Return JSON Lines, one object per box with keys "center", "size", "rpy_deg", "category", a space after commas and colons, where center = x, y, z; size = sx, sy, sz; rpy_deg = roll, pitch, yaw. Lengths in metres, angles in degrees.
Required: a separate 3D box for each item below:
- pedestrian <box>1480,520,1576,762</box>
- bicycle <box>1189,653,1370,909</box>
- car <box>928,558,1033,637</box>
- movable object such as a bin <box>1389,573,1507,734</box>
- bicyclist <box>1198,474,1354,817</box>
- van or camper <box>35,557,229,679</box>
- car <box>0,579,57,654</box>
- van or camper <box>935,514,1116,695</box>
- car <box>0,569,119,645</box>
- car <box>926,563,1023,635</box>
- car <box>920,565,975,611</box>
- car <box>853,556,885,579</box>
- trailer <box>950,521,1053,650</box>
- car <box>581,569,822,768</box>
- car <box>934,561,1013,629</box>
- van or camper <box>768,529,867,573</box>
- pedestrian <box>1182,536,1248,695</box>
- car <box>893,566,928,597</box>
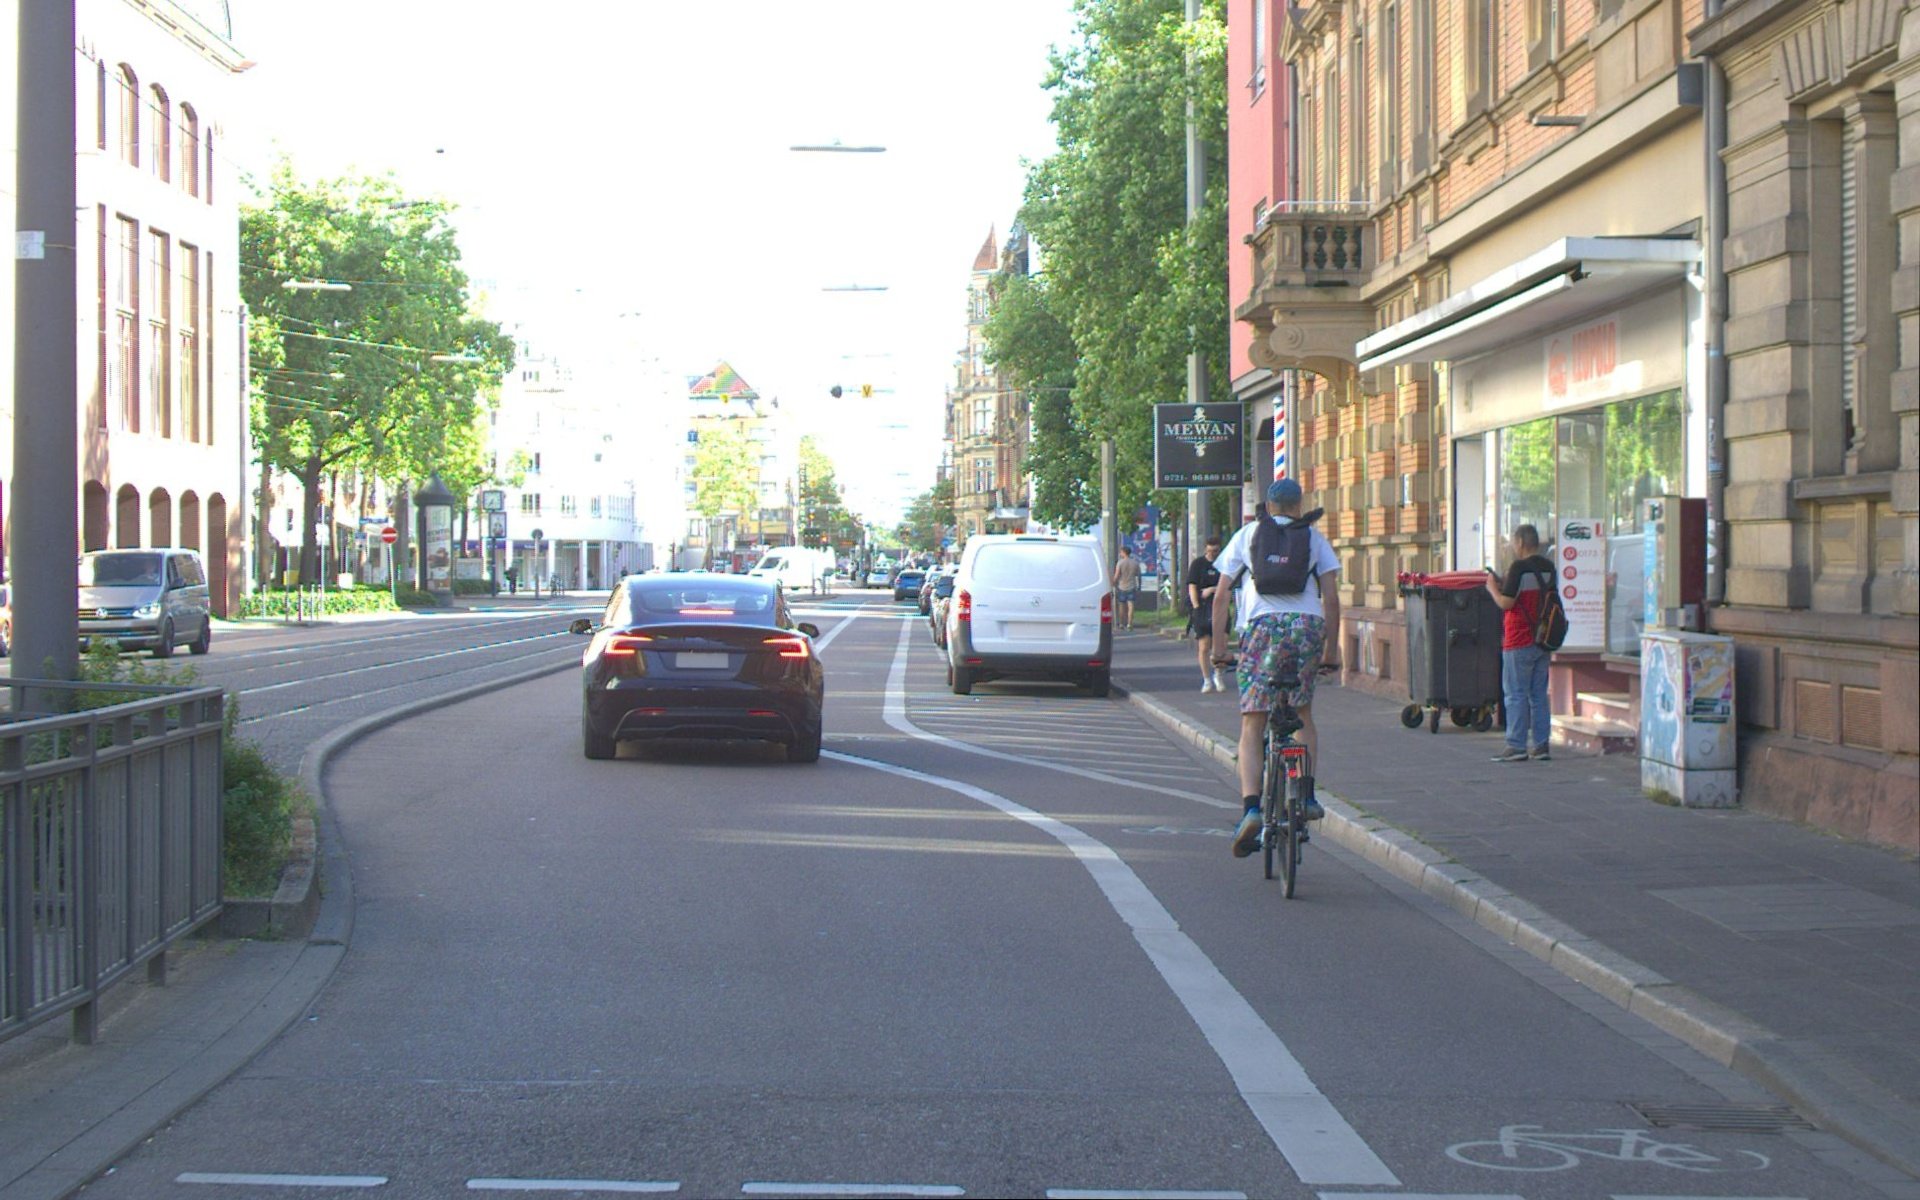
{"center": [4.122, 0.288, 24.927], "size": [0.470, 1.722, 0.586], "rpy_deg": [0, 2, 35], "category": "pedestrian"}
{"center": [1.561, 0.860, 17.068], "size": [0.647, 1.135, 2.096], "rpy_deg": [1, 0, -1], "category": "bicycle"}
{"center": [0.370, -0.056, 67.663], "size": [1.802, 1.430, 4.324], "rpy_deg": [2, 0, -2], "category": "car"}
{"center": [4.169, 0.446, 29.467], "size": [0.775, 1.343, 1.299], "rpy_deg": [0, 0, -2], "category": "movable object such as a bin"}
{"center": [1.563, 0.216, 17.111], "size": [0.655, 1.650, 0.927], "rpy_deg": [1, 0, -1], "category": "bicyclist"}
{"center": [-14.263, 0.272, 59.516], "size": [1.993, 1.933, 4.834], "rpy_deg": [-2, 1, 2], "category": "van or camper"}
{"center": [-18.790, 0.280, 65.651], "size": [1.960, 1.321, 4.821], "rpy_deg": [2, 1, -2], "category": "car"}
{"center": [0.731, 0.050, 42.264], "size": [1.931, 2.030, 5.476], "rpy_deg": [1, 0, -2], "category": "van or camper"}
{"center": [-18.826, 0.123, 71.485], "size": [1.669, 1.463, 4.290], "rpy_deg": [2, 1, -1], "category": "car"}
{"center": [0.335, -0.037, 72.292], "size": [1.750, 1.438, 4.314], "rpy_deg": [1, 1, 4], "category": "car"}
{"center": [-0.440, -0.399, 113.308], "size": [1.710, 1.452, 4.550], "rpy_deg": [1, 0, -1], "category": "car"}
{"center": [-6.210, -2.218, 234.438], "size": [1.993, 1.520, 4.001], "rpy_deg": [0, 1, -5], "category": "car"}
{"center": [0.712, -0.254, 59.674], "size": [1.661, 2.109, 3.842], "rpy_deg": [2, 0, 1], "category": "trailer"}
{"center": [-1.983, 0.489, 27.214], "size": [1.719, 1.400, 3.710], "rpy_deg": [1, 1, -2], "category": "car"}
{"center": [0.309, -0.145, 84.287], "size": [1.713, 1.585, 4.066], "rpy_deg": [1, 1, -2], "category": "car"}
{"center": [-8.883, -3.061, 214.840], "size": [2.144, 2.645, 6.865], "rpy_deg": [0, 0, 38], "category": "van or camper"}
{"center": [2.927, 0.179, 39.462], "size": [0.672, 1.808, 0.756], "rpy_deg": [0, 0, -2], "category": "pedestrian"}
{"center": [-2.338, -0.878, 163.591], "size": [1.593, 1.428, 3.686], "rpy_deg": [0, 0, 0], "category": "car"}
